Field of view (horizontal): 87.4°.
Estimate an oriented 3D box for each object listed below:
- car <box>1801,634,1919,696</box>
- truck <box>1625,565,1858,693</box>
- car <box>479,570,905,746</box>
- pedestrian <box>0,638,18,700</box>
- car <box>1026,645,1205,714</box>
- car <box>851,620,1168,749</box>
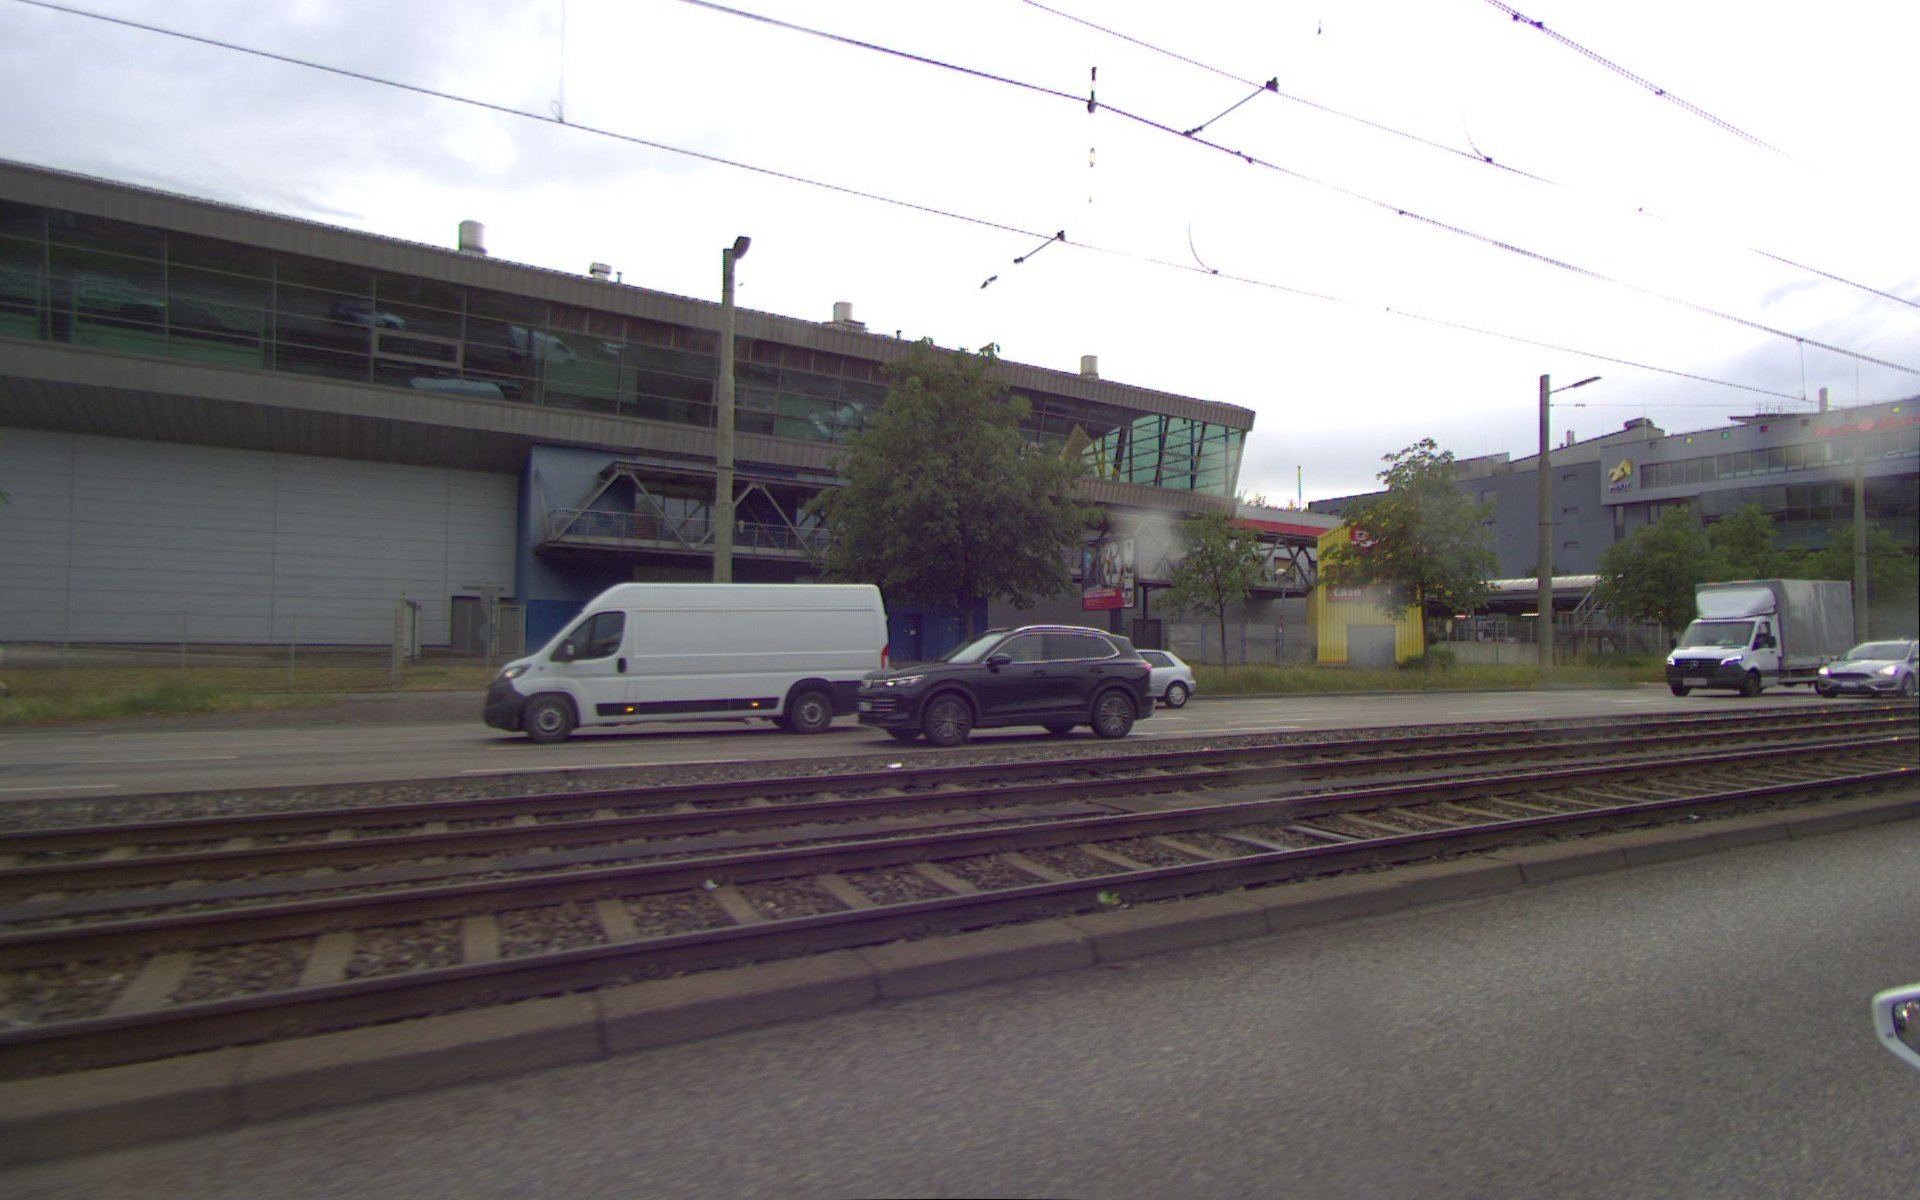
[{"bbox_3d":[24.413,1.687,26.482,4.383,1.518,1.800,1,-5,-27],"label":"car"},{"bbox_3d":[23.203,0.917,29.752,7.063,3.401,2.717,1,-4,-28],"label":"truck"},{"bbox_3d":[-4.365,0.956,16.826,6.452,2.532,2.429,1,-4,-22],"label":"car"},{"bbox_3d":[-24.052,1.706,24.970,0.748,1.517,0.547,1,0,-25],"label":"pedestrian"},{"bbox_3d":[3.721,1.841,24.036,3.946,1.418,1.742,0,0,-26],"label":"car"},{"bbox_3d":[0.732,1.200,14.891,4.301,1.678,1.904,1,-4,-25],"label":"car"}]
